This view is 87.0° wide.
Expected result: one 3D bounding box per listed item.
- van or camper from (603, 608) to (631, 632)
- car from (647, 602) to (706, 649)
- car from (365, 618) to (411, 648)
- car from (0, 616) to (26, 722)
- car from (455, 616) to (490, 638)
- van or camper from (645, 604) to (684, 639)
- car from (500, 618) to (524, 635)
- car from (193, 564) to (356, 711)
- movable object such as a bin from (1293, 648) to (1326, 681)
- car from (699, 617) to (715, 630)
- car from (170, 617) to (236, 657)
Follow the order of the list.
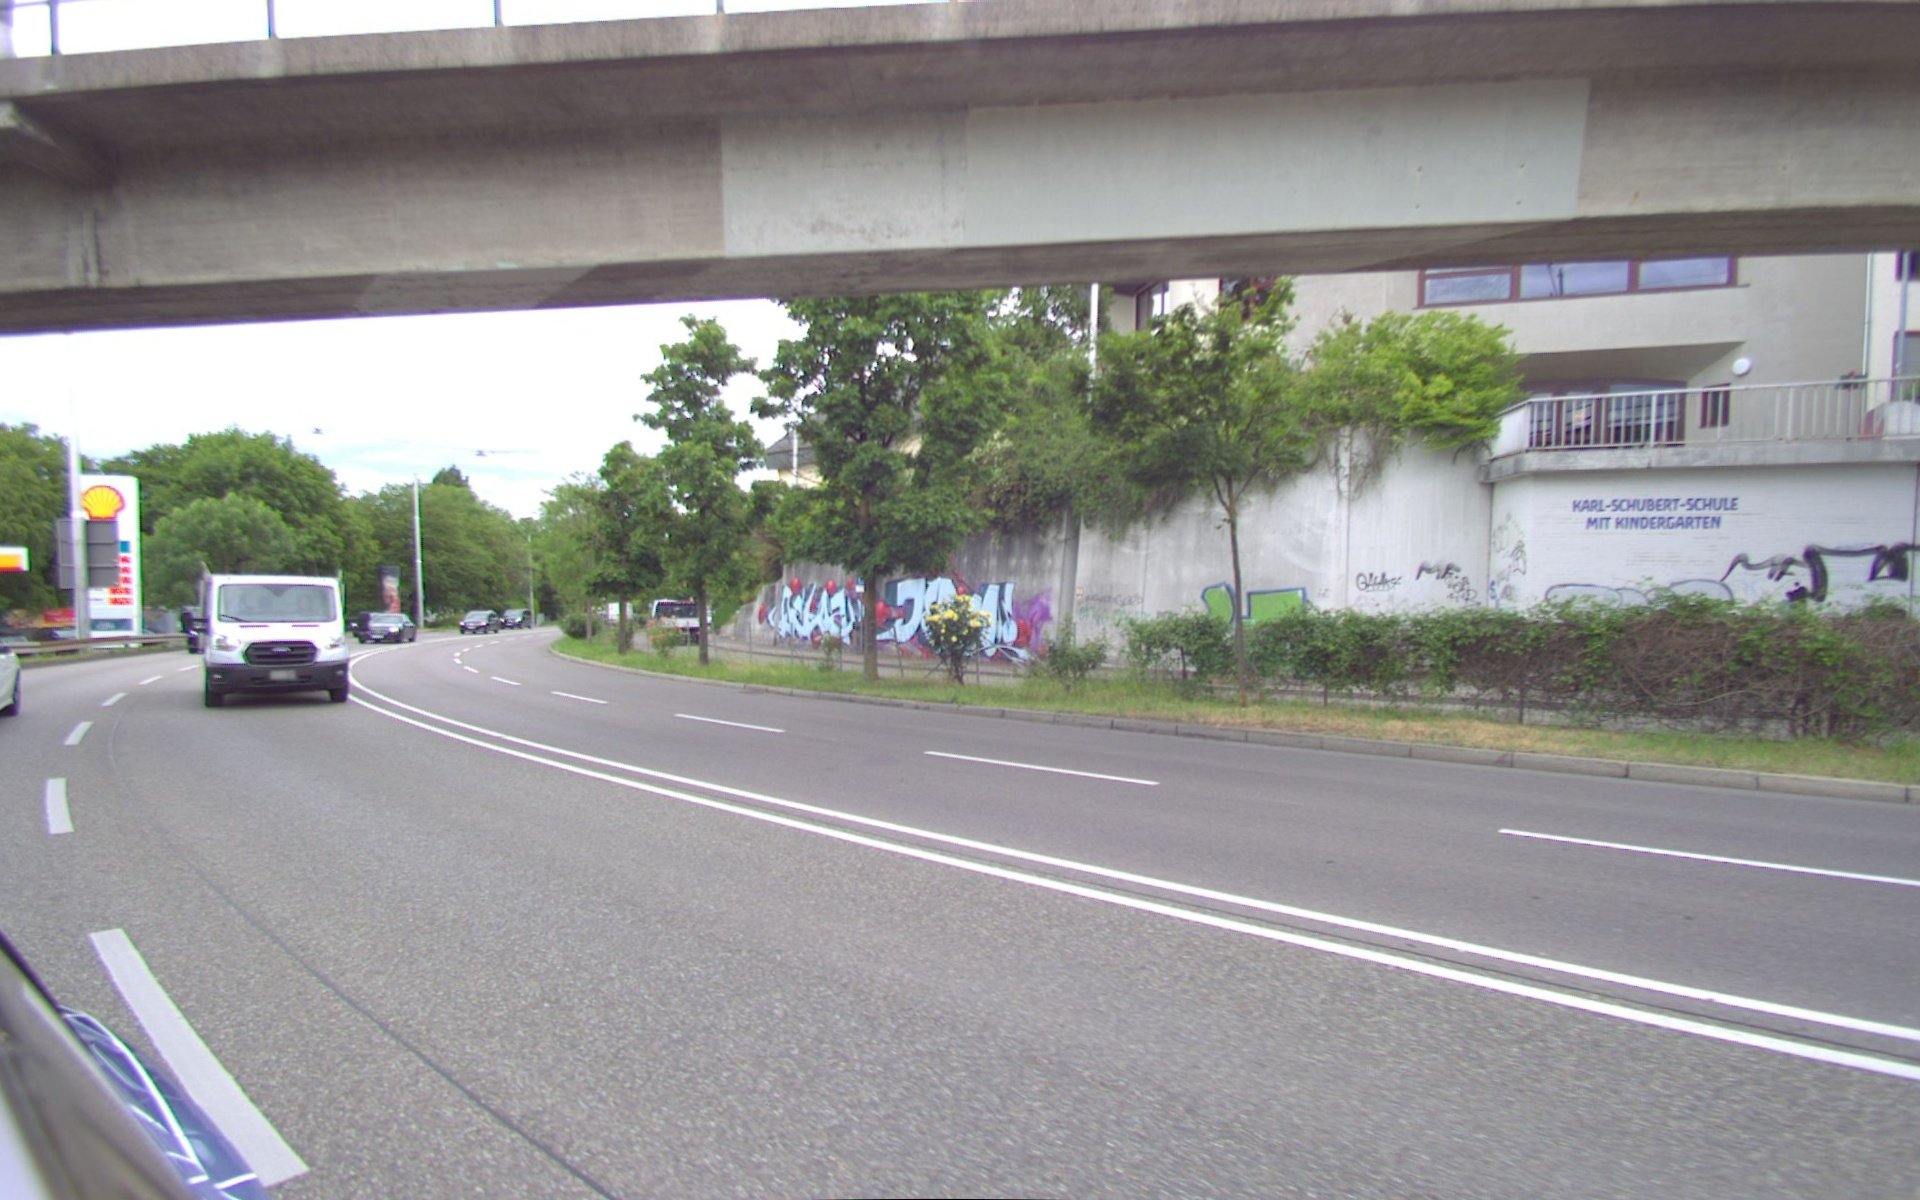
[{"bbox_3d":[-32.789,1.937,96.931,1.981,2.278,5.977,1,-1,-14],"label":"van or camper"},{"bbox_3d":[-14.861,1.312,52.848,2.235,2.290,6.347,1,-1,-22],"label":"car"},{"bbox_3d":[-28.750,1.629,50.952,1.708,1.422,4.013,-1,-1,-25],"label":"car"},{"bbox_3d":[-13.258,0.899,12.705,1.793,1.357,4.009,2,-1,-37],"label":"car"},{"bbox_3d":[-34.845,1.910,72.436,1.701,1.489,4.012,-1,-1,-18],"label":"car"},{"bbox_3d":[-21.717,1.553,74.527,1.968,2.492,5.720,1,-1,-8],"label":"van or camper"},{"bbox_3d":[-41.575,2.408,93.918,1.701,1.489,4.013,-1,-1,-19],"label":"car"},{"bbox_3d":[-12.446,0.639,18.154,1.968,2.190,6.280,1,-2,-38],"label":"car"},{"bbox_3d":[7.614,1.394,22.038,0.579,0.645,0.554,-3,2,29],"label":"movable object such as a bin"},{"bbox_3d":[-29.114,2.661,116.438,1.651,1.439,4.429,3,-2,-12],"label":"car"},{"bbox_3d":[-28.611,1.361,38.211,1.708,1.421,4.006,0,-1,-41],"label":"car"}]
